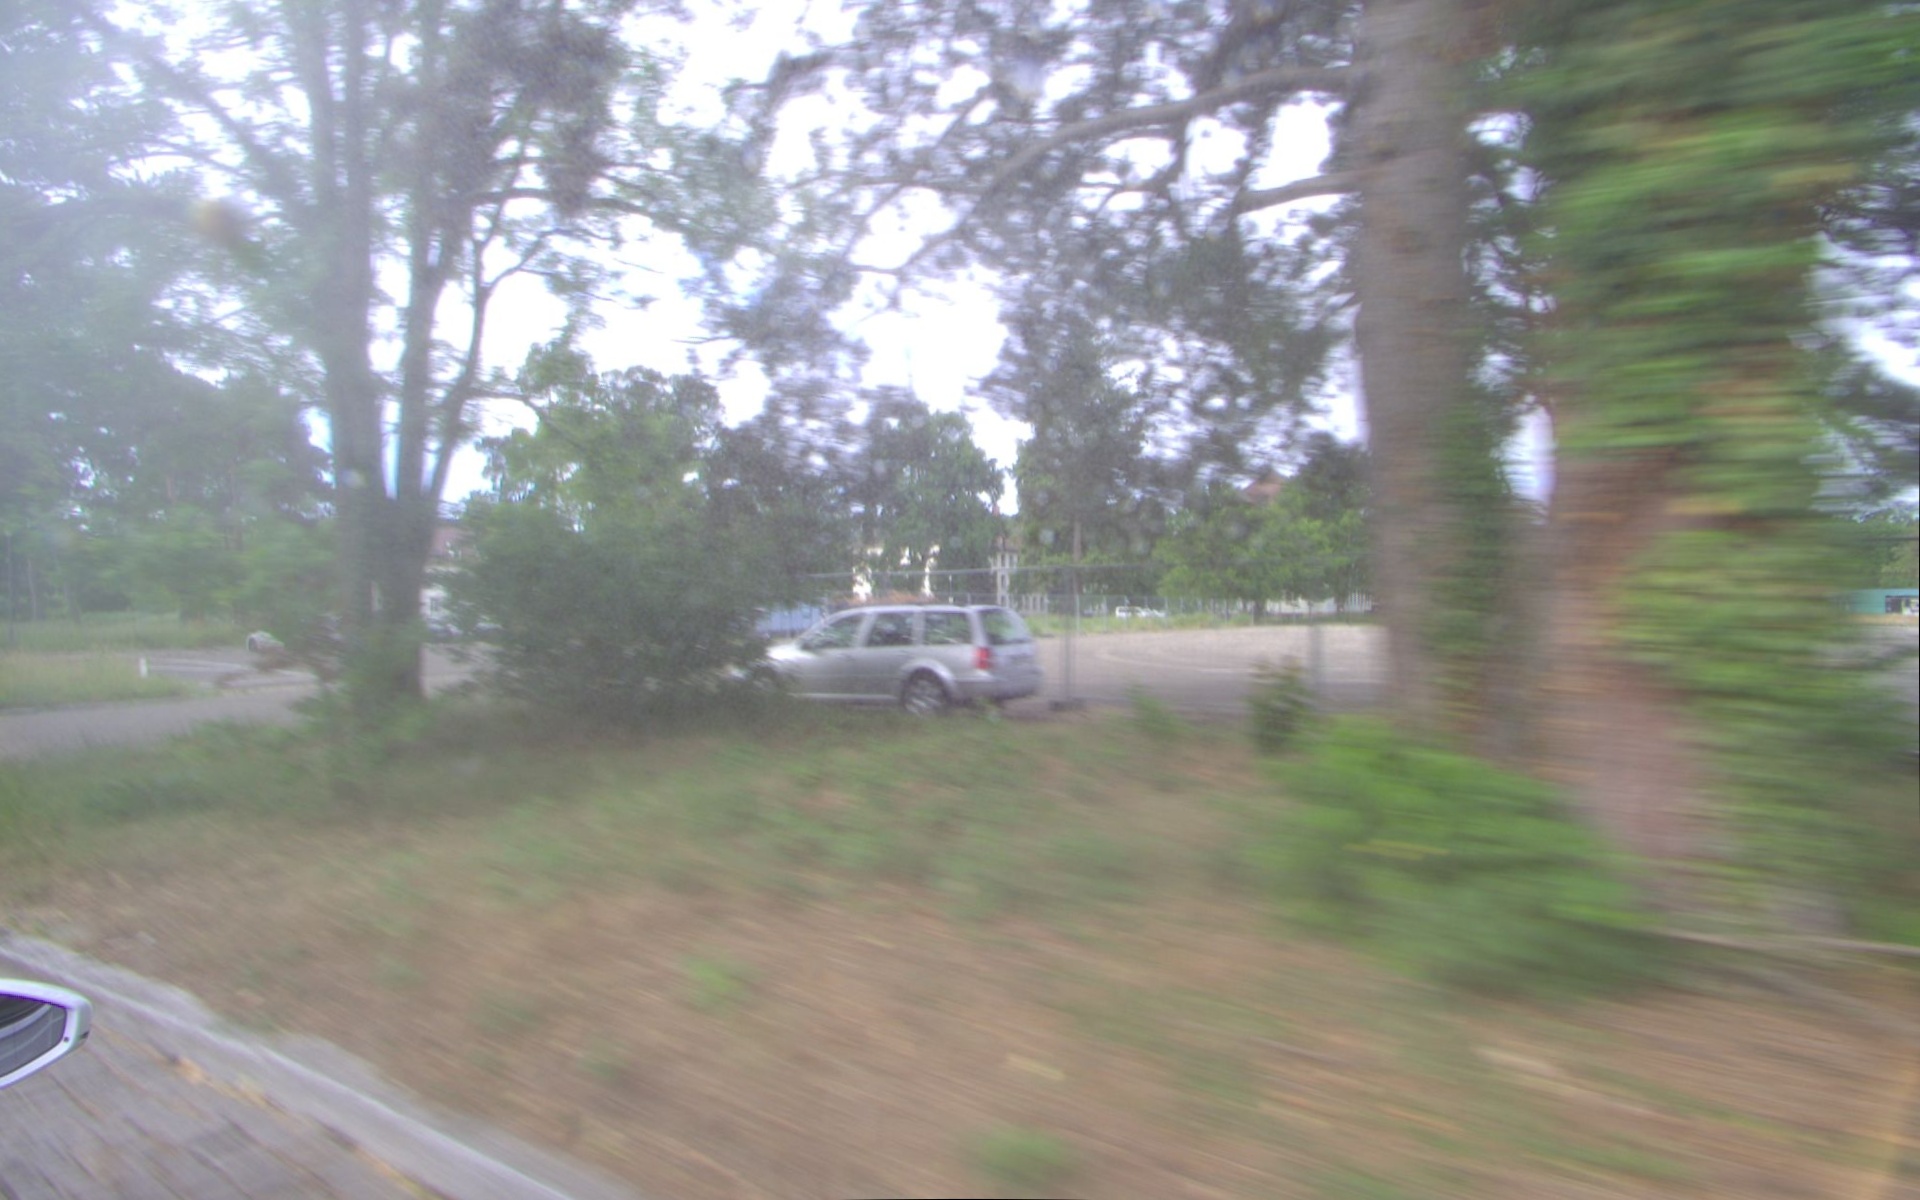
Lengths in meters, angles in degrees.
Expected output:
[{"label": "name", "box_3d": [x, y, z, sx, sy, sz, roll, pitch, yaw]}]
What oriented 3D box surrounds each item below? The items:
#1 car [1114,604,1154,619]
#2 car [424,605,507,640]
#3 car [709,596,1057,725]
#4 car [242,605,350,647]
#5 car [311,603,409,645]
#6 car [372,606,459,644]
[{"label": "car", "box_3d": [24.707, 1.688, 142.292, 5.222, 1.979, 2.080, -1, -2, 32]}, {"label": "car", "box_3d": [-24.020, 1.118, 48.601, 4.185, 1.504, 1.697, -4, -2, 33]}, {"label": "car", "box_3d": [-1.080, 0.727, 13.270, 4.421, 1.469, 1.672, -1, -1, 29]}, {"label": "car", "box_3d": [-27.372, 1.091, 41.260, 4.541, 1.505, 1.847, -3, -3, 29]}, {"label": "car", "box_3d": [-26.113, 1.049, 43.586, 4.180, 1.626, 1.780, -3, -1, 29]}, {"label": "car", "box_3d": [-25.015, 1.157, 45.997, 4.185, 1.504, 1.697, -4, -2, 33]}]
